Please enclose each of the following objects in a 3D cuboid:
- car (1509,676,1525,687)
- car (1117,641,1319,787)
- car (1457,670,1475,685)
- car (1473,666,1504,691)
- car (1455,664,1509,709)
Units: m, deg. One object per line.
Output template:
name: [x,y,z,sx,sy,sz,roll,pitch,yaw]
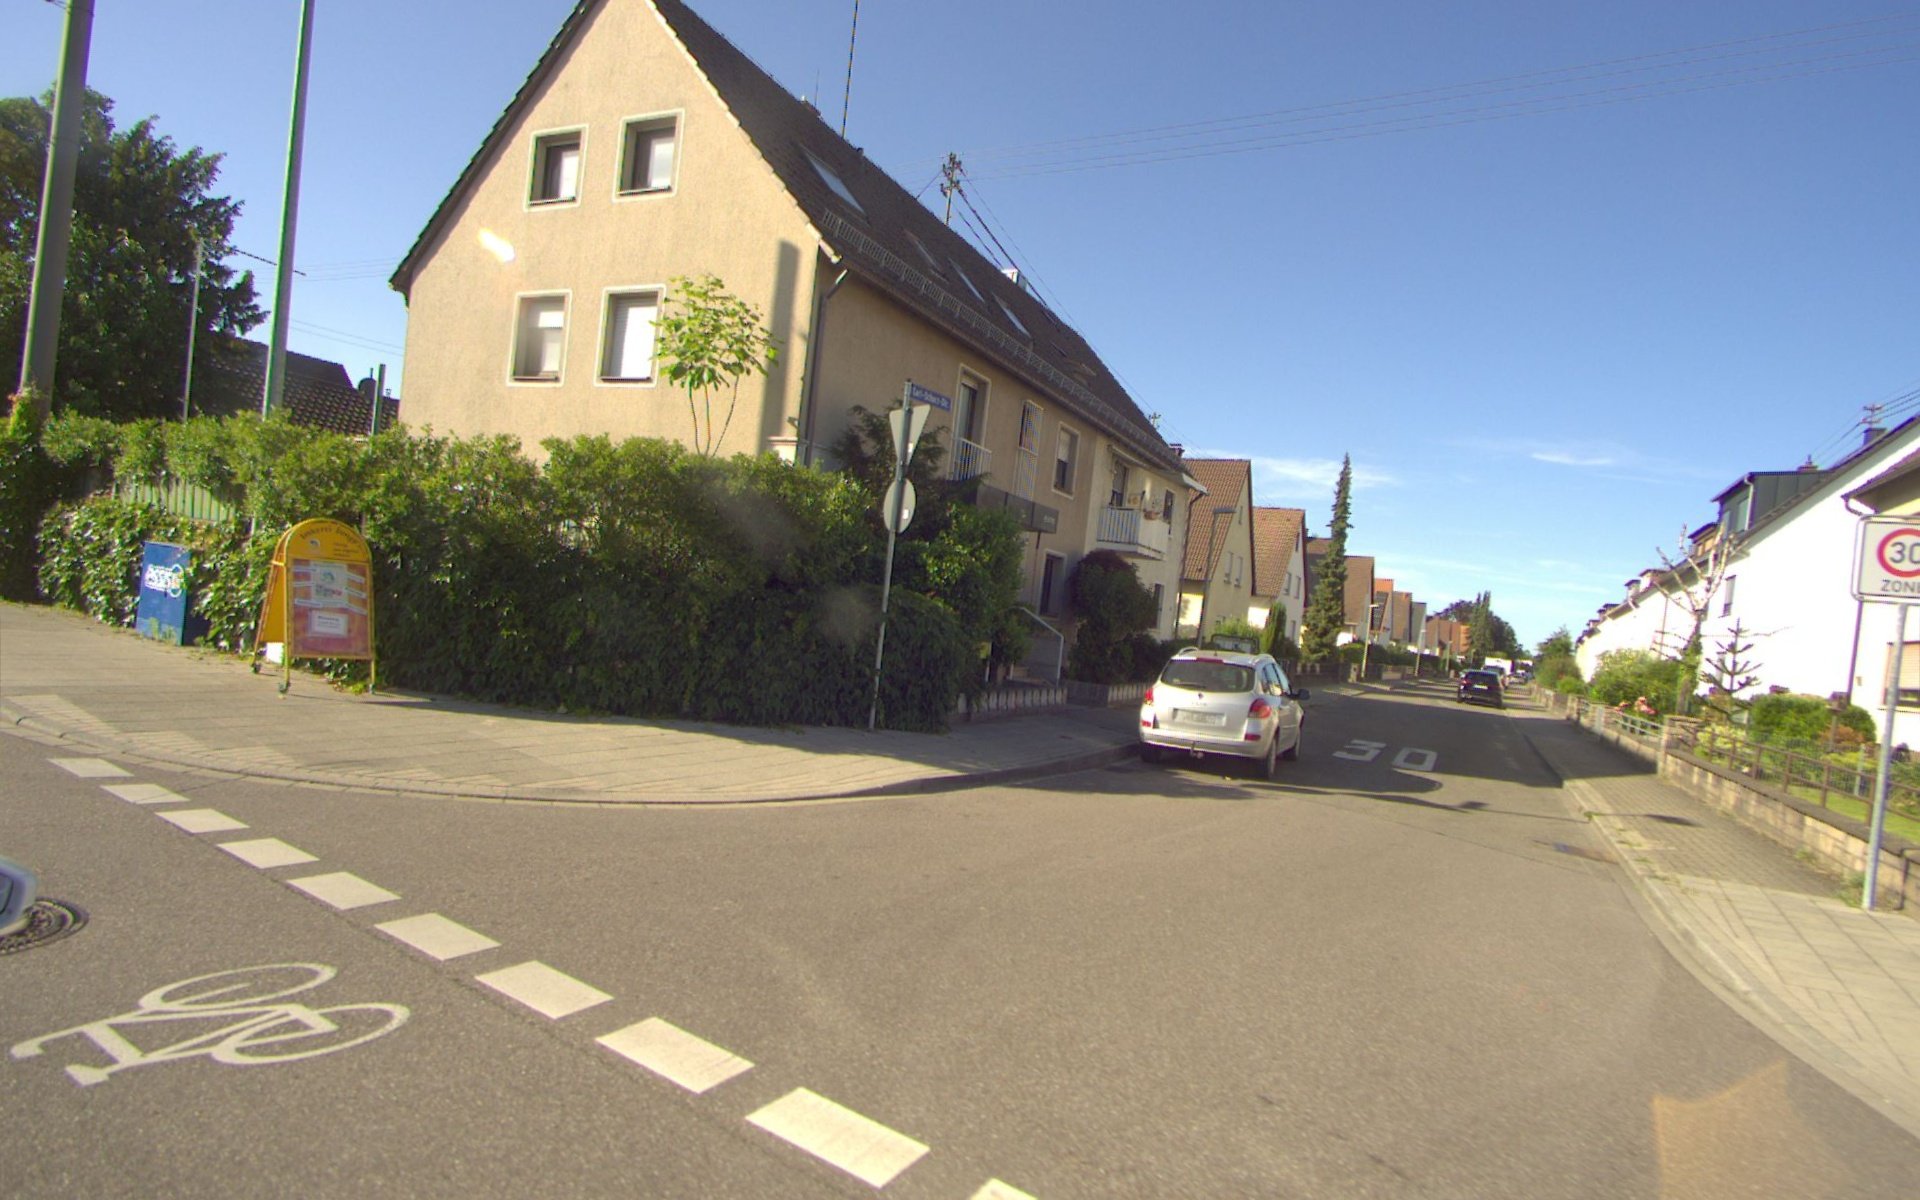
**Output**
car: [84.083,12.299,151.911,1.770,1.530,4.148,5,-1,26]
car: [3.708,1.458,13.898,1.770,1.530,4.148,5,-1,26]
car: [59.150,9.078,117.619,1.770,1.530,4.148,5,-1,26]
car: [39.858,5.881,75.936,1.844,1.641,4.148,5,-1,26]
car: [23.099,3.771,44.626,1.882,1.705,4.224,5,-1,26]
